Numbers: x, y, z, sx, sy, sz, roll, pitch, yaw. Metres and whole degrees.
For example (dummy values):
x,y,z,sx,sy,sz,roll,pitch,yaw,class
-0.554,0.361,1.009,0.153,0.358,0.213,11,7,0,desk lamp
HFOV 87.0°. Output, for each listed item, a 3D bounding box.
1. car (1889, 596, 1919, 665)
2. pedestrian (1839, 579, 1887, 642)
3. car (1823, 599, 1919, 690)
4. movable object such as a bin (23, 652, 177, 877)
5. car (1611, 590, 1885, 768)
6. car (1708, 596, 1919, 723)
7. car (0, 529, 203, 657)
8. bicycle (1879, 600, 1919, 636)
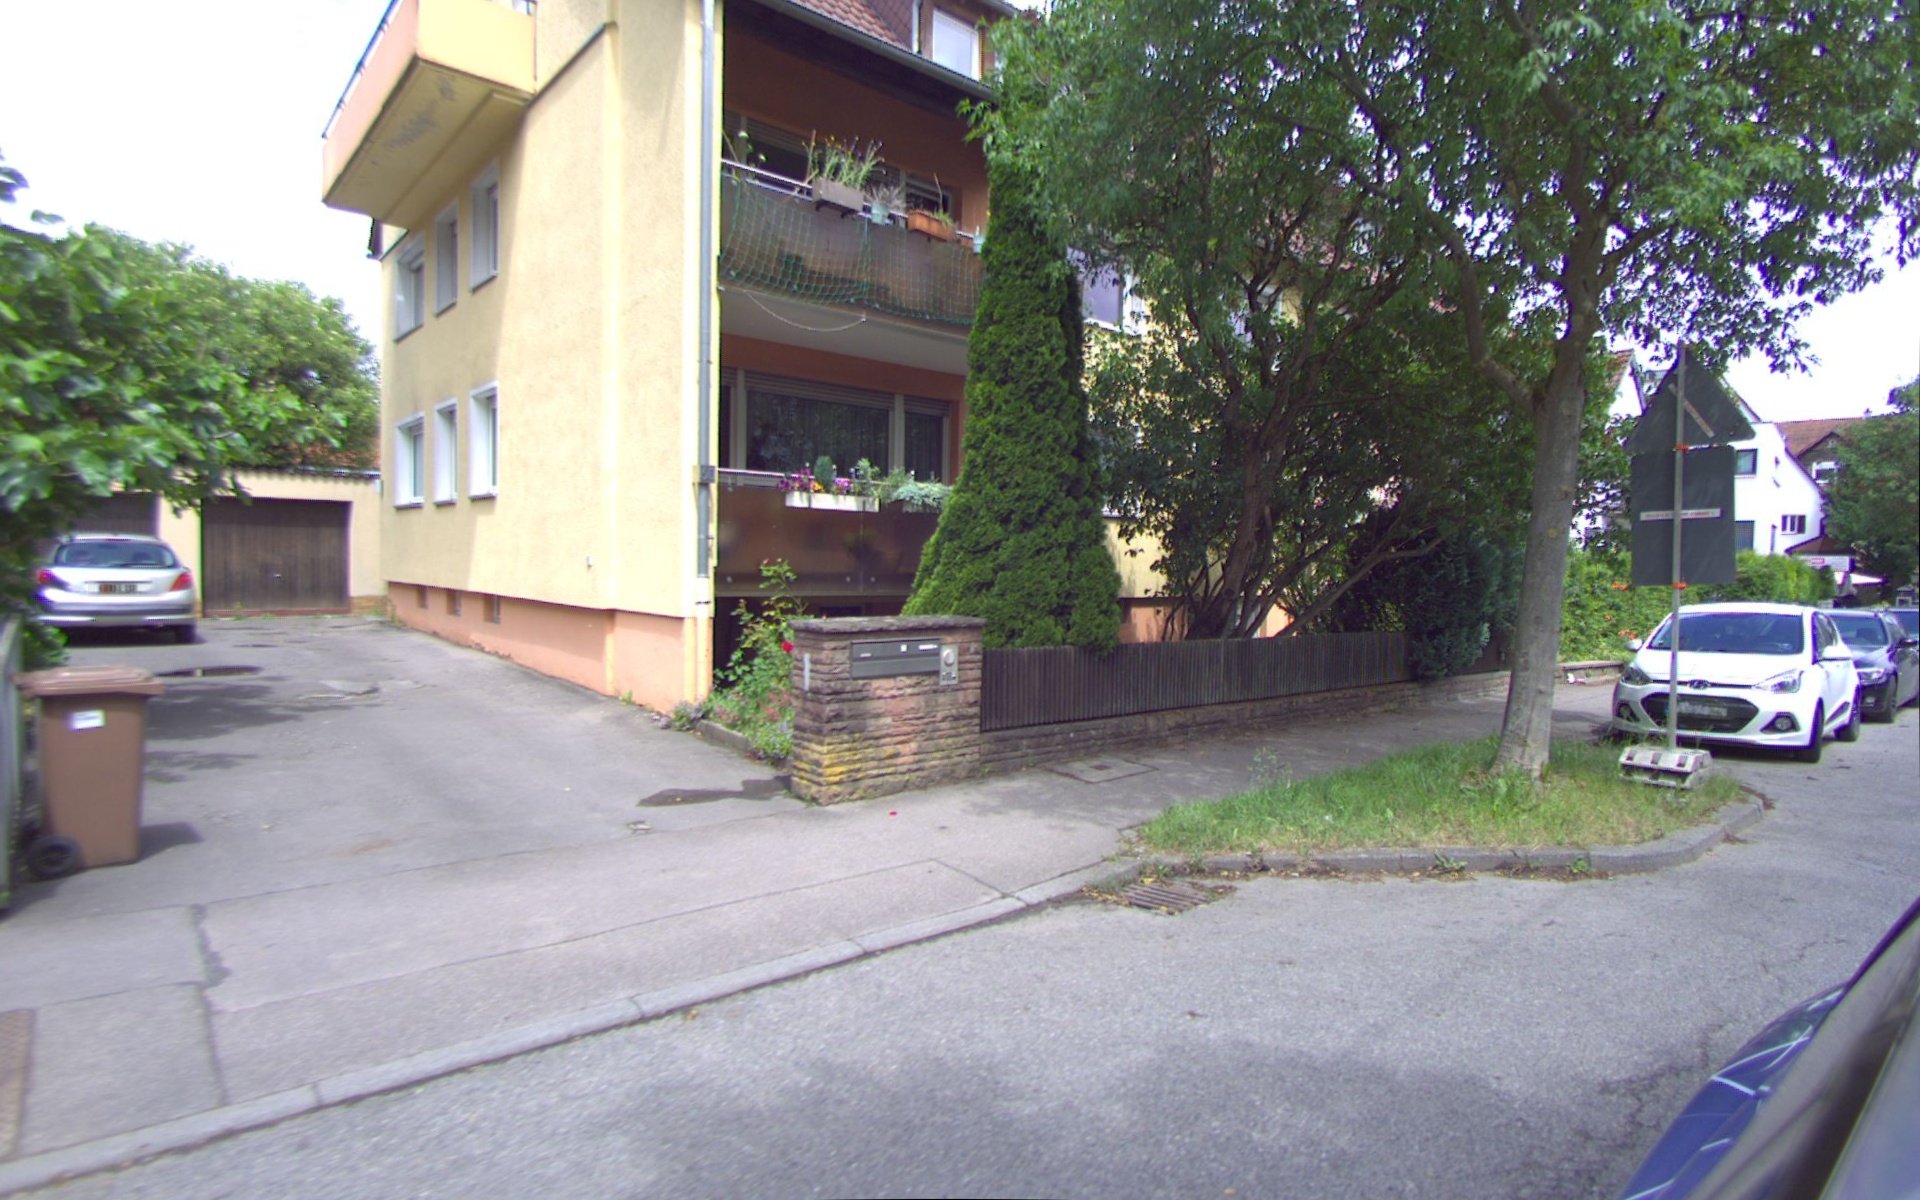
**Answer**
x,y,z,sx,sy,sz,roll,pitch,yaw,class
23.104,0.665,23.530,4.787,1.499,1.703,-1,0,-41,car
25.444,0.283,28.506,0.827,1.733,0.882,-1,2,-40,pedestrian
16.938,0.708,17.974,4.798,1.447,1.736,0,-1,-41,car
-4.095,0.746,4.832,0.511,0.946,0.508,2,1,-41,movable object such as a bin
8.475,0.677,10.779,3.713,1.526,1.625,-1,2,-41,car
12.447,0.705,14.298,4.507,1.441,1.998,-1,2,-40,car
-12.228,-0.199,14.308,3.984,1.548,1.649,4,4,41,car
33.101,0.630,35.601,2.172,1.164,0.723,-1,2,-36,bicycle
